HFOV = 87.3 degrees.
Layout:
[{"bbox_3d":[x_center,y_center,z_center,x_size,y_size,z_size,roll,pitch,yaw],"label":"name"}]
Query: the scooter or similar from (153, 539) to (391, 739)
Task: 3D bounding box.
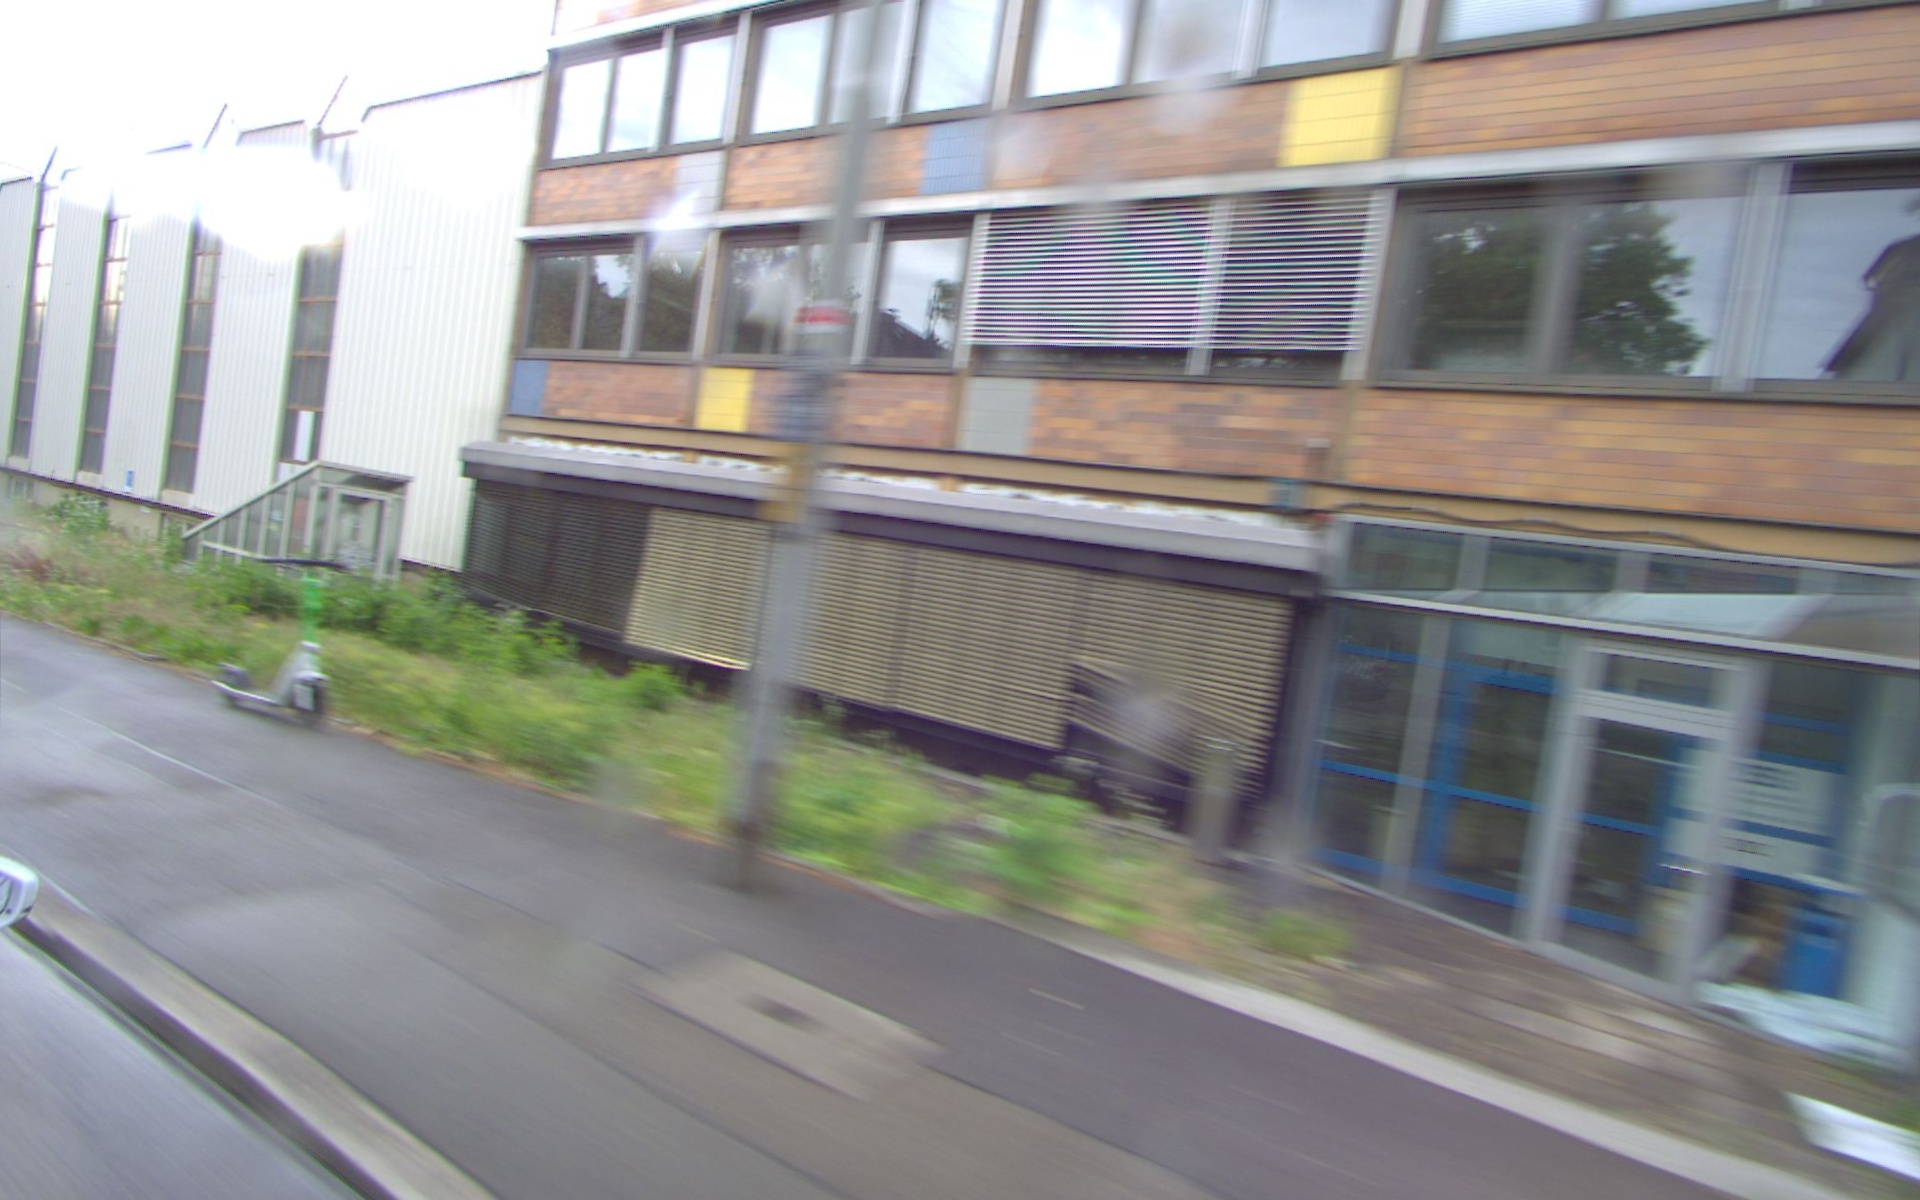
[{"bbox_3d":[-4.931,0.248,7.185,1.670,1.176,0.606,7,1,28],"label":"scooter or similar"}]
